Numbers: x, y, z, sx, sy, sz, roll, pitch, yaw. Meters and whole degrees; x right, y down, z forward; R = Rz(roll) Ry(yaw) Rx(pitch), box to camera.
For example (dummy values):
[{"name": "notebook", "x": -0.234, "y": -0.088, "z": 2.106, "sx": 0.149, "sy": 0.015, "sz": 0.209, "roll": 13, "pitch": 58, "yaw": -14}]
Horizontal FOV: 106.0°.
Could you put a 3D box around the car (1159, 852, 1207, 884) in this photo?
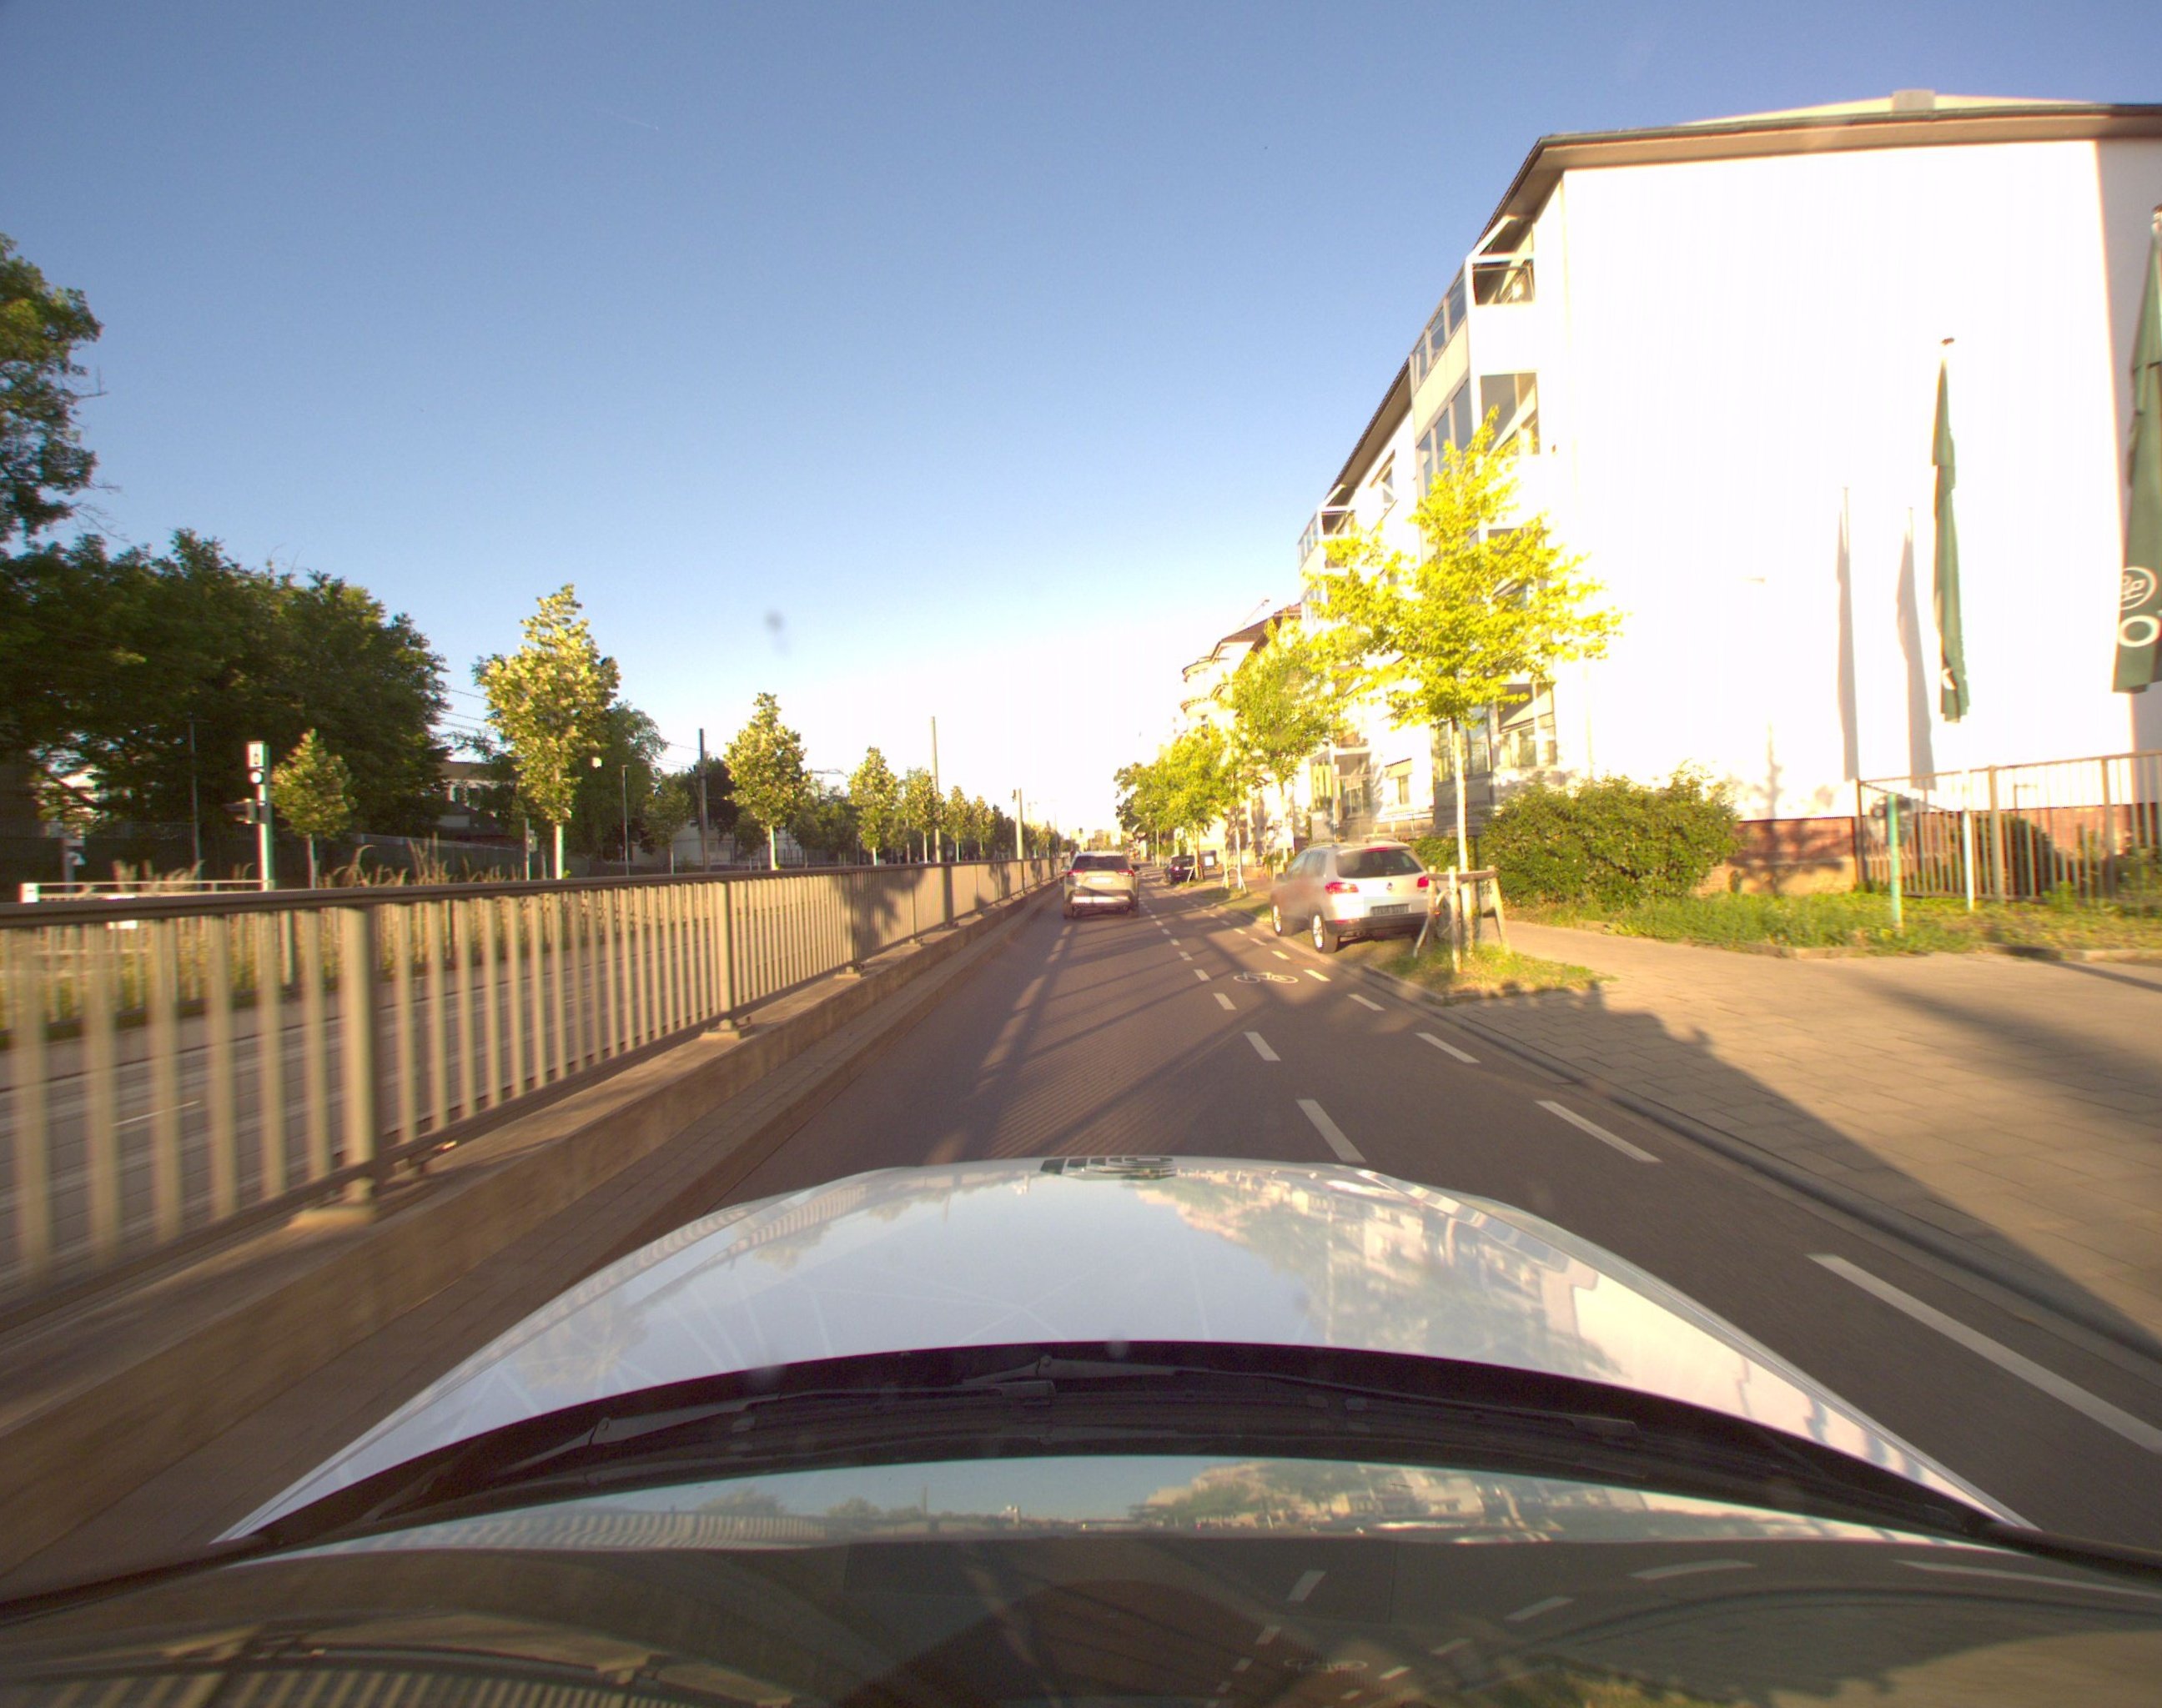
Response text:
[{"name": "car", "x": 5.342, "y": 0.704, "z": 43.145, "sx": 1.787, "sy": 1.471, "sz": 4.443, "roll": -5, "pitch": 0, "yaw": -1}]

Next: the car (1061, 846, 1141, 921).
[{"name": "car", "x": 0.458, "y": 0.700, "z": 21.148, "sx": 1.852, "sy": 1.714, "sz": 4.191, "roll": -1, "pitch": 0, "yaw": 0}]

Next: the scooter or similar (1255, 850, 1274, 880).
[{"name": "scooter or similar", "x": 7.840, "y": 0.480, "z": 34.885, "sx": 0.489, "sy": 1.258, "sz": 1.207, "roll": -1, "pitch": -1, "yaw": -2}]

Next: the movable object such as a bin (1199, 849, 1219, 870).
[{"name": "movable object such as a bin", "x": 9.263, "y": 0.374, "z": 58.917, "sx": 1.256, "sy": 1.462, "sz": 1.123, "roll": -2, "pitch": 0, "yaw": -2}]

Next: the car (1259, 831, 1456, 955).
[{"name": "car", "x": 4.448, "y": 0.558, "z": 13.861, "sx": 1.848, "sy": 1.706, "sz": 4.253, "roll": -2, "pitch": 0, "yaw": 0}]
